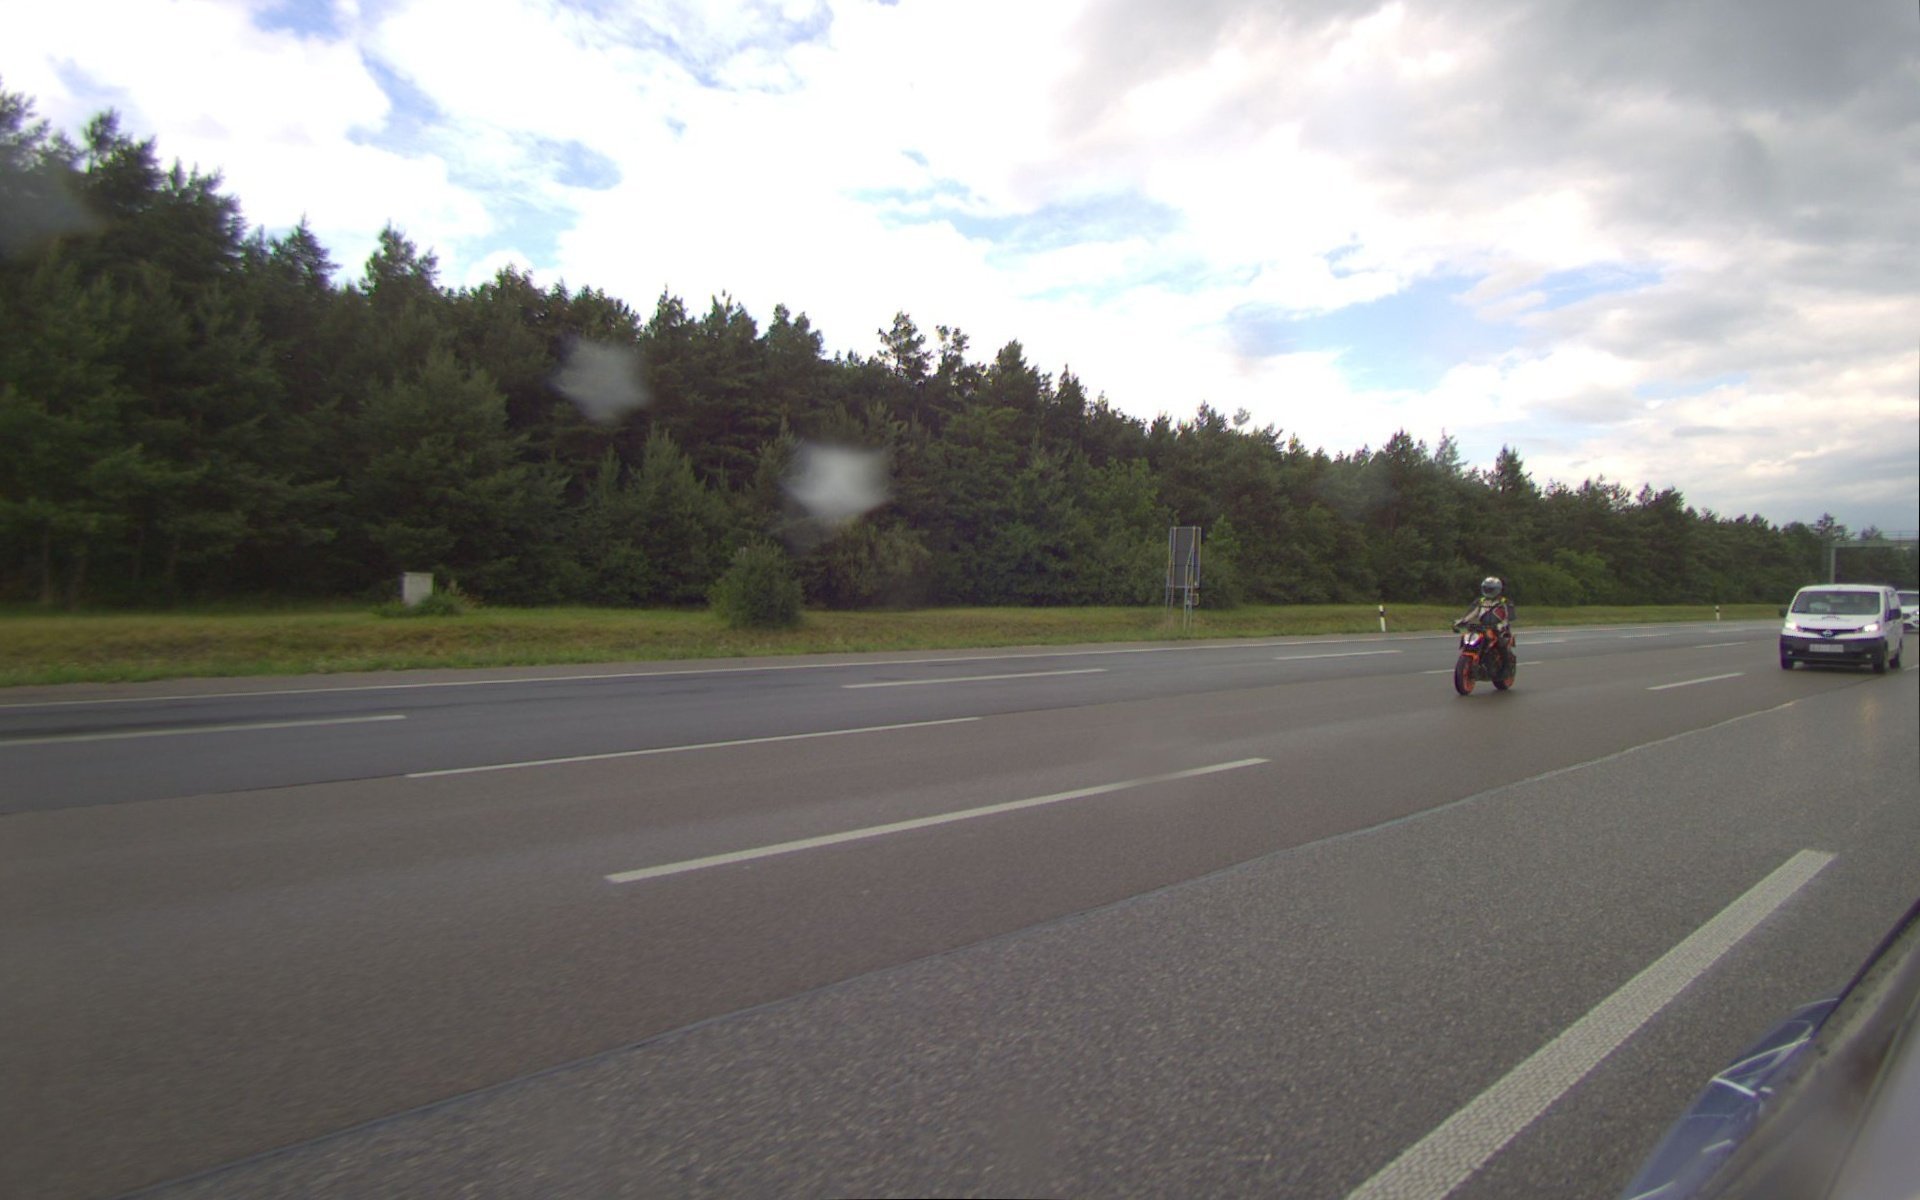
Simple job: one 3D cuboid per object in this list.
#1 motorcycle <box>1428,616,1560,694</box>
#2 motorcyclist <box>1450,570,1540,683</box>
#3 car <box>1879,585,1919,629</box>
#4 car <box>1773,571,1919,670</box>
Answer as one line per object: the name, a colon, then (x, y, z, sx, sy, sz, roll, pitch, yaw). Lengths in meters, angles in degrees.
motorcycle: (8.087, 0.792, 15.299, 2.134, 1.044, 1.002, 0, 1, -39)
motorcyclist: (8.087, 0.379, 15.301, 0.941, 1.635, 0.893, 0, 0, -39)
car: (46.107, 0.347, 48.562, 5.380, 2.039, 1.999, 1, 0, -36)
car: (19.656, 0.389, 22.102, 4.793, 1.925, 1.968, 0, 1, -39)
